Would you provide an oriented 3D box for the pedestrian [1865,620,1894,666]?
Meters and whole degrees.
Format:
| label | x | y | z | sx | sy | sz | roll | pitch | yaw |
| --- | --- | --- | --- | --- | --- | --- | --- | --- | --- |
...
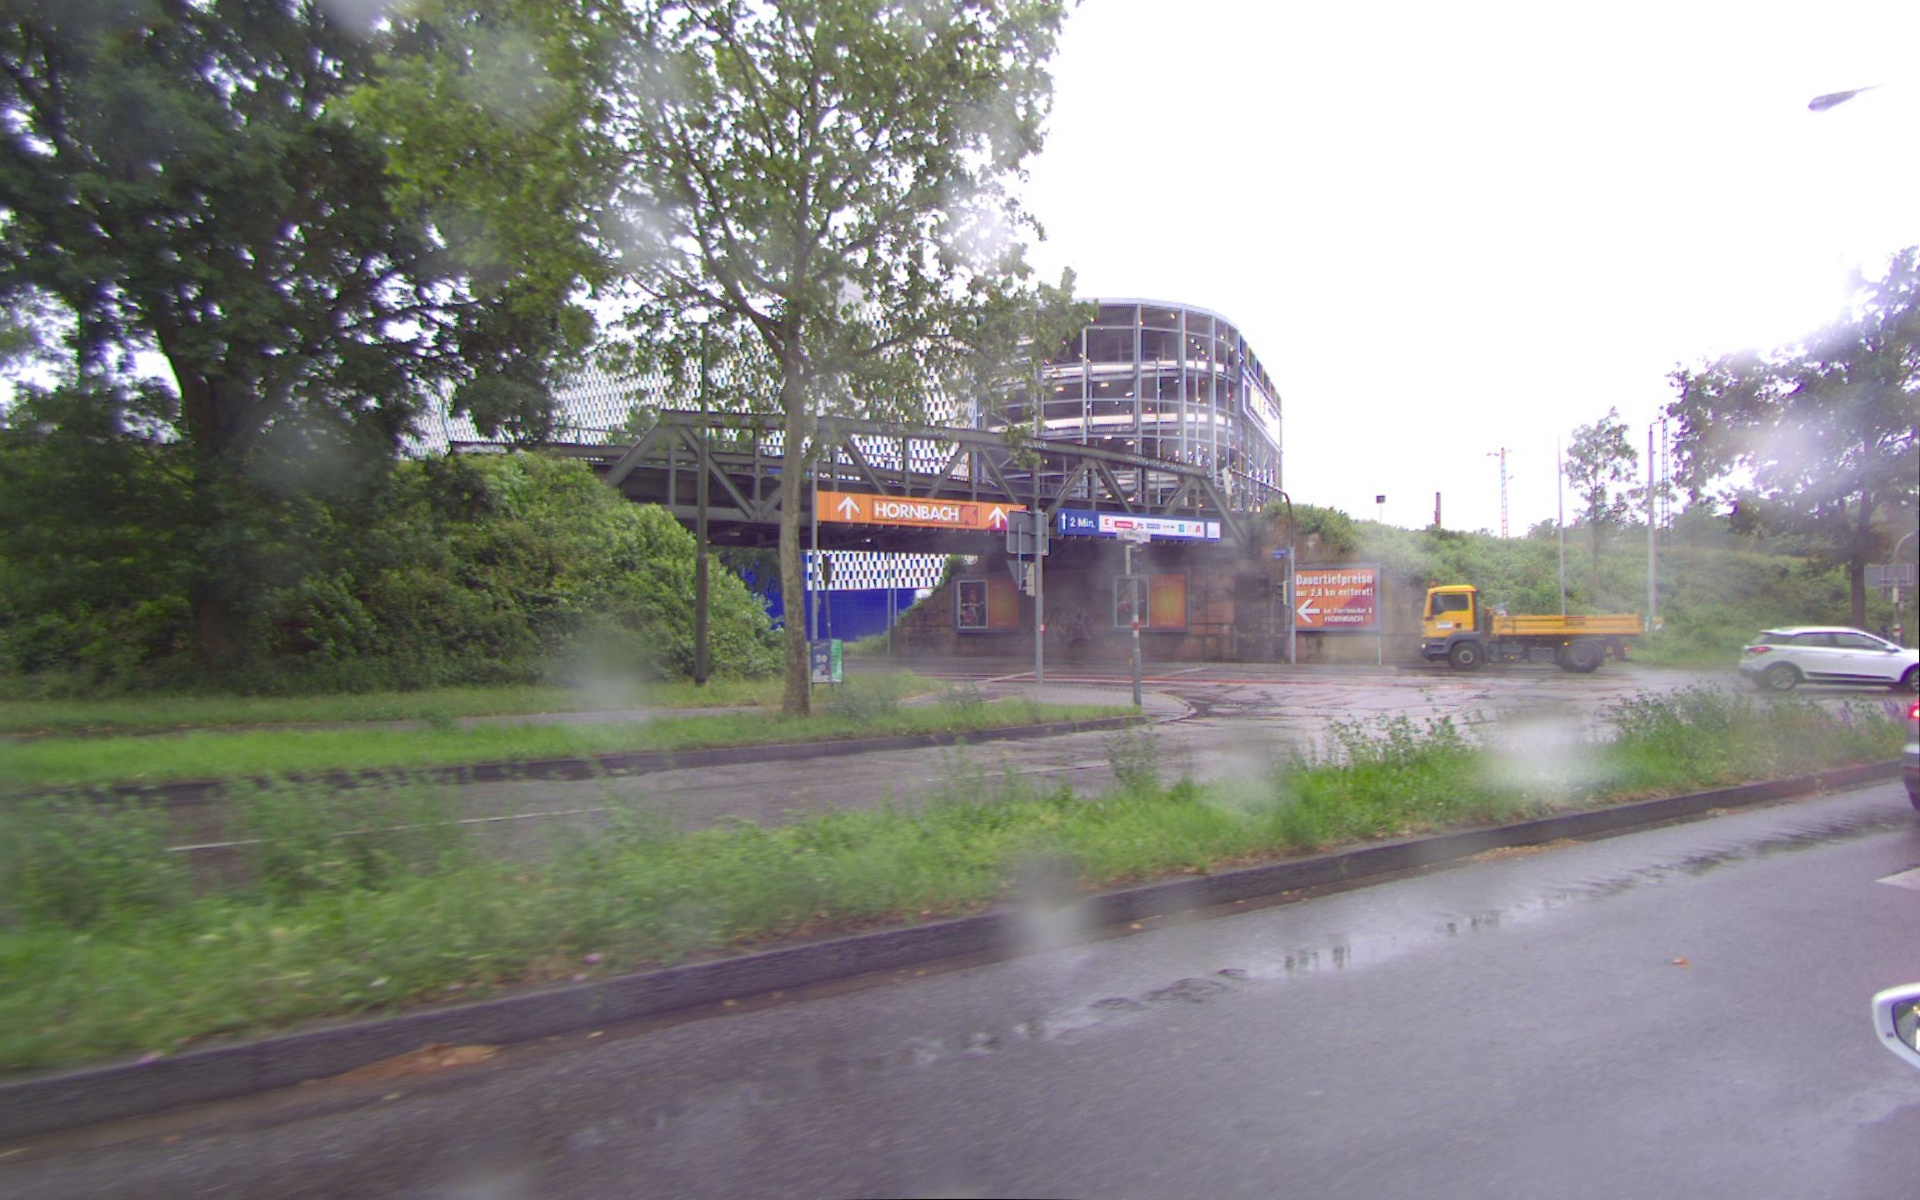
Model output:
| label | x | y | z | sx | sy | sz | roll | pitch | yaw |
| --- | --- | --- | --- | --- | --- | --- | --- | --- | --- |
| pedestrian | 37.026 | 1.737 | 40.446 | 0.661 | 1.809 | 0.533 | 2 | 0 | -12 |

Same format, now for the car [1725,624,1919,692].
| label | x | y | z | sx | sy | sz | roll | pitch | yaw |
| --- | --- | --- | --- | --- | --- | --- | --- | --- | --- |
| car | 21.108 | 1.354 | 24.175 | 3.988 | 1.541 | 1.998 | -1 | -2 | 27 |

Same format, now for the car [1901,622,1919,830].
| label | x | y | z | sx | sy | sz | roll | pitch | yaw |
| --- | --- | --- | --- | --- | --- | --- | --- | --- | --- |
| car | 9.027 | 0.922 | 7.530 | 4.521 | 1.452 | 1.682 | 1 | -1 | -30 |

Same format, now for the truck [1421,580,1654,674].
| label | x | y | z | sx | sy | sz | roll | pitch | yaw |
| --- | --- | --- | --- | --- | --- | --- | --- | --- | --- |
| truck | 20.311 | 0.953 | 35.876 | 6.914 | 3.094 | 2.646 | 0 | -2 | 23 |
